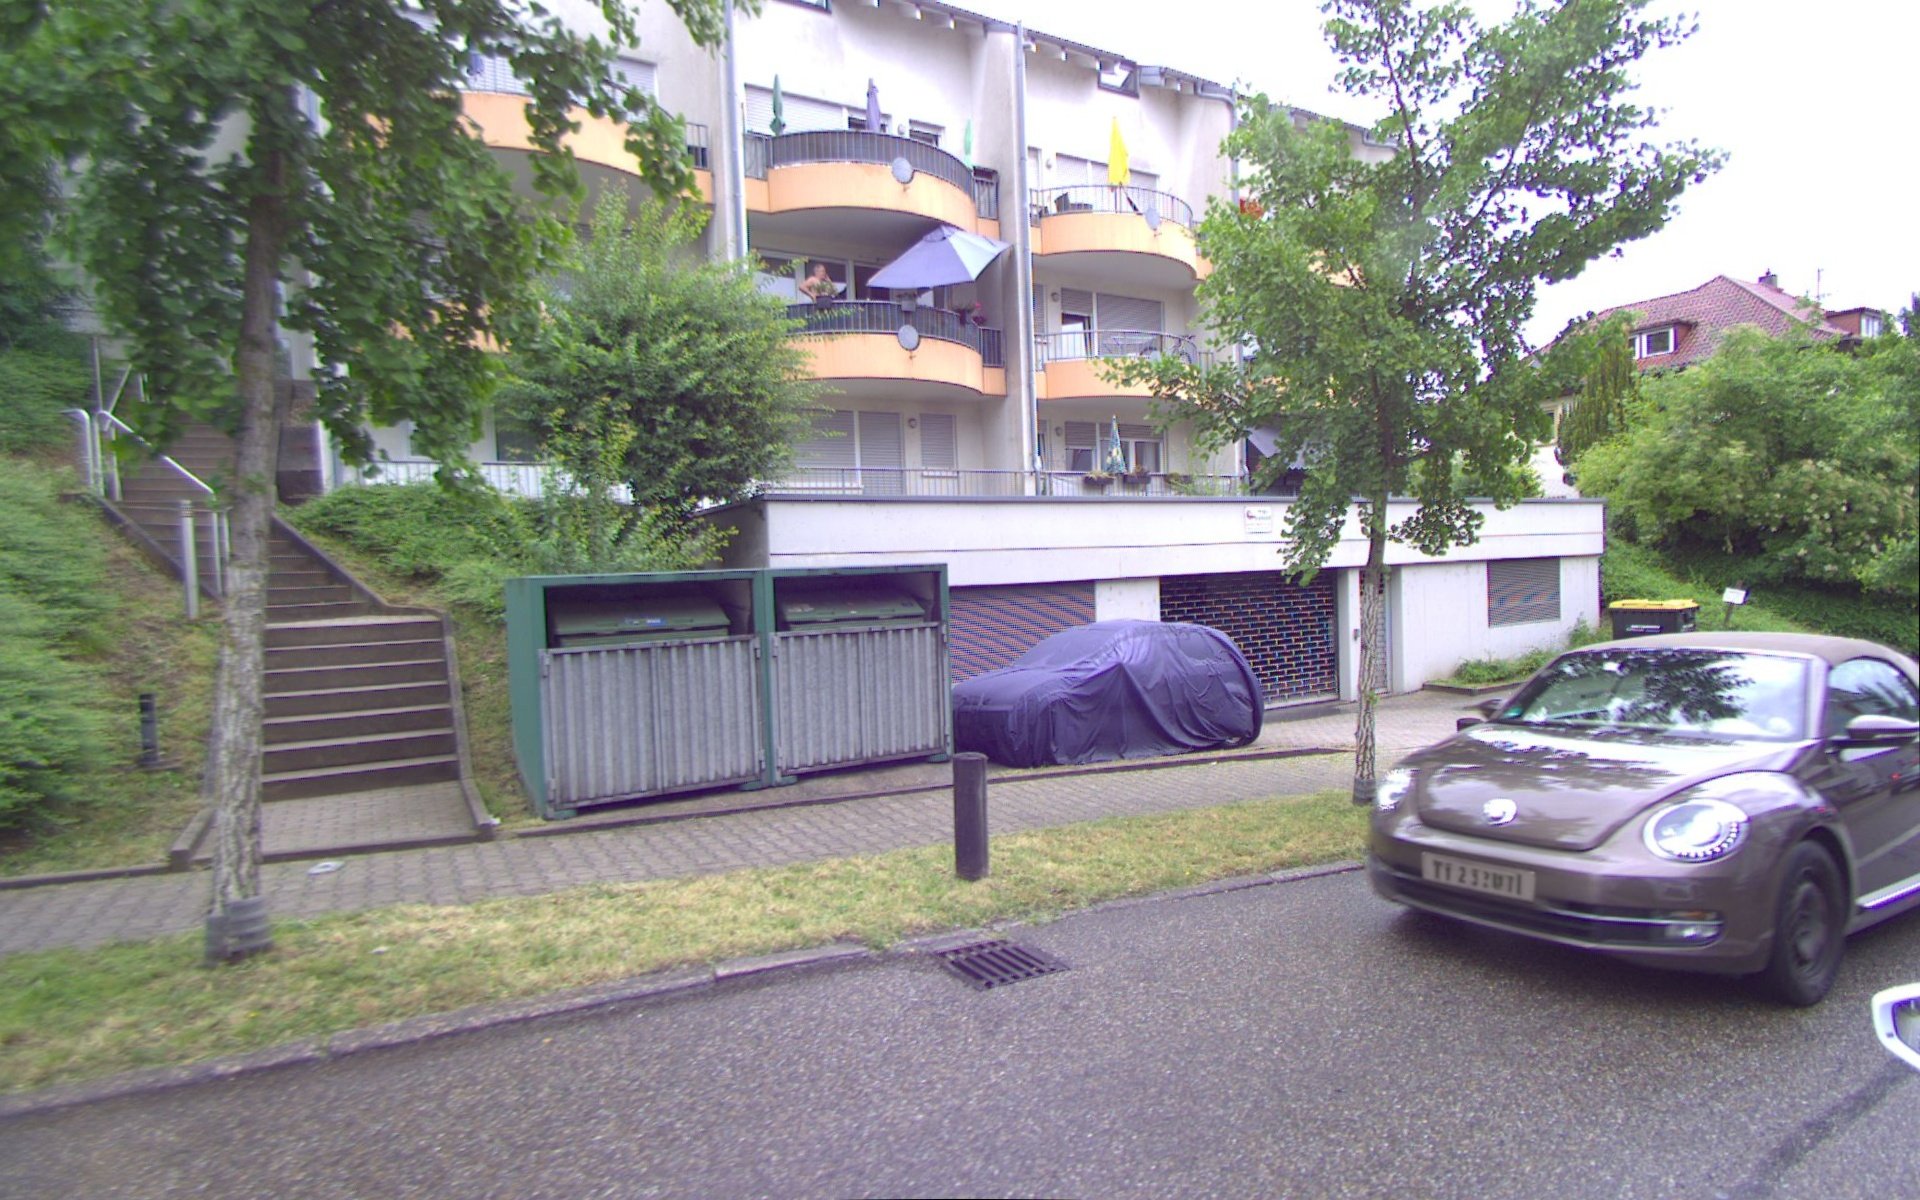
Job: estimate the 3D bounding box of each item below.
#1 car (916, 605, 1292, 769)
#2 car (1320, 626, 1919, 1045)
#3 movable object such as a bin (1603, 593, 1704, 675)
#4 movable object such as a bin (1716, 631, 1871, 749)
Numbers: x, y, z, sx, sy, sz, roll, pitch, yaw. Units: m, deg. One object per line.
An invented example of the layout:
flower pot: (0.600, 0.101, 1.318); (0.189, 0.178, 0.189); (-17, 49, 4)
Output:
car: (1.692, 0.928, 11.505); (4.050, 1.581, 1.770); (1, -4, -31)
car: (3.955, 0.886, 5.335); (3.954, 1.467, 1.769); (1, -2, -31)
movable object such as a bin: (13.324, 0.628, 19.310); (1.215, 1.383, 1.288); (-7, 5, -37)
movable object such as a bin: (10.556, 1.086, 12.742); (1.145, 1.324, 1.288); (0, 1, -38)
